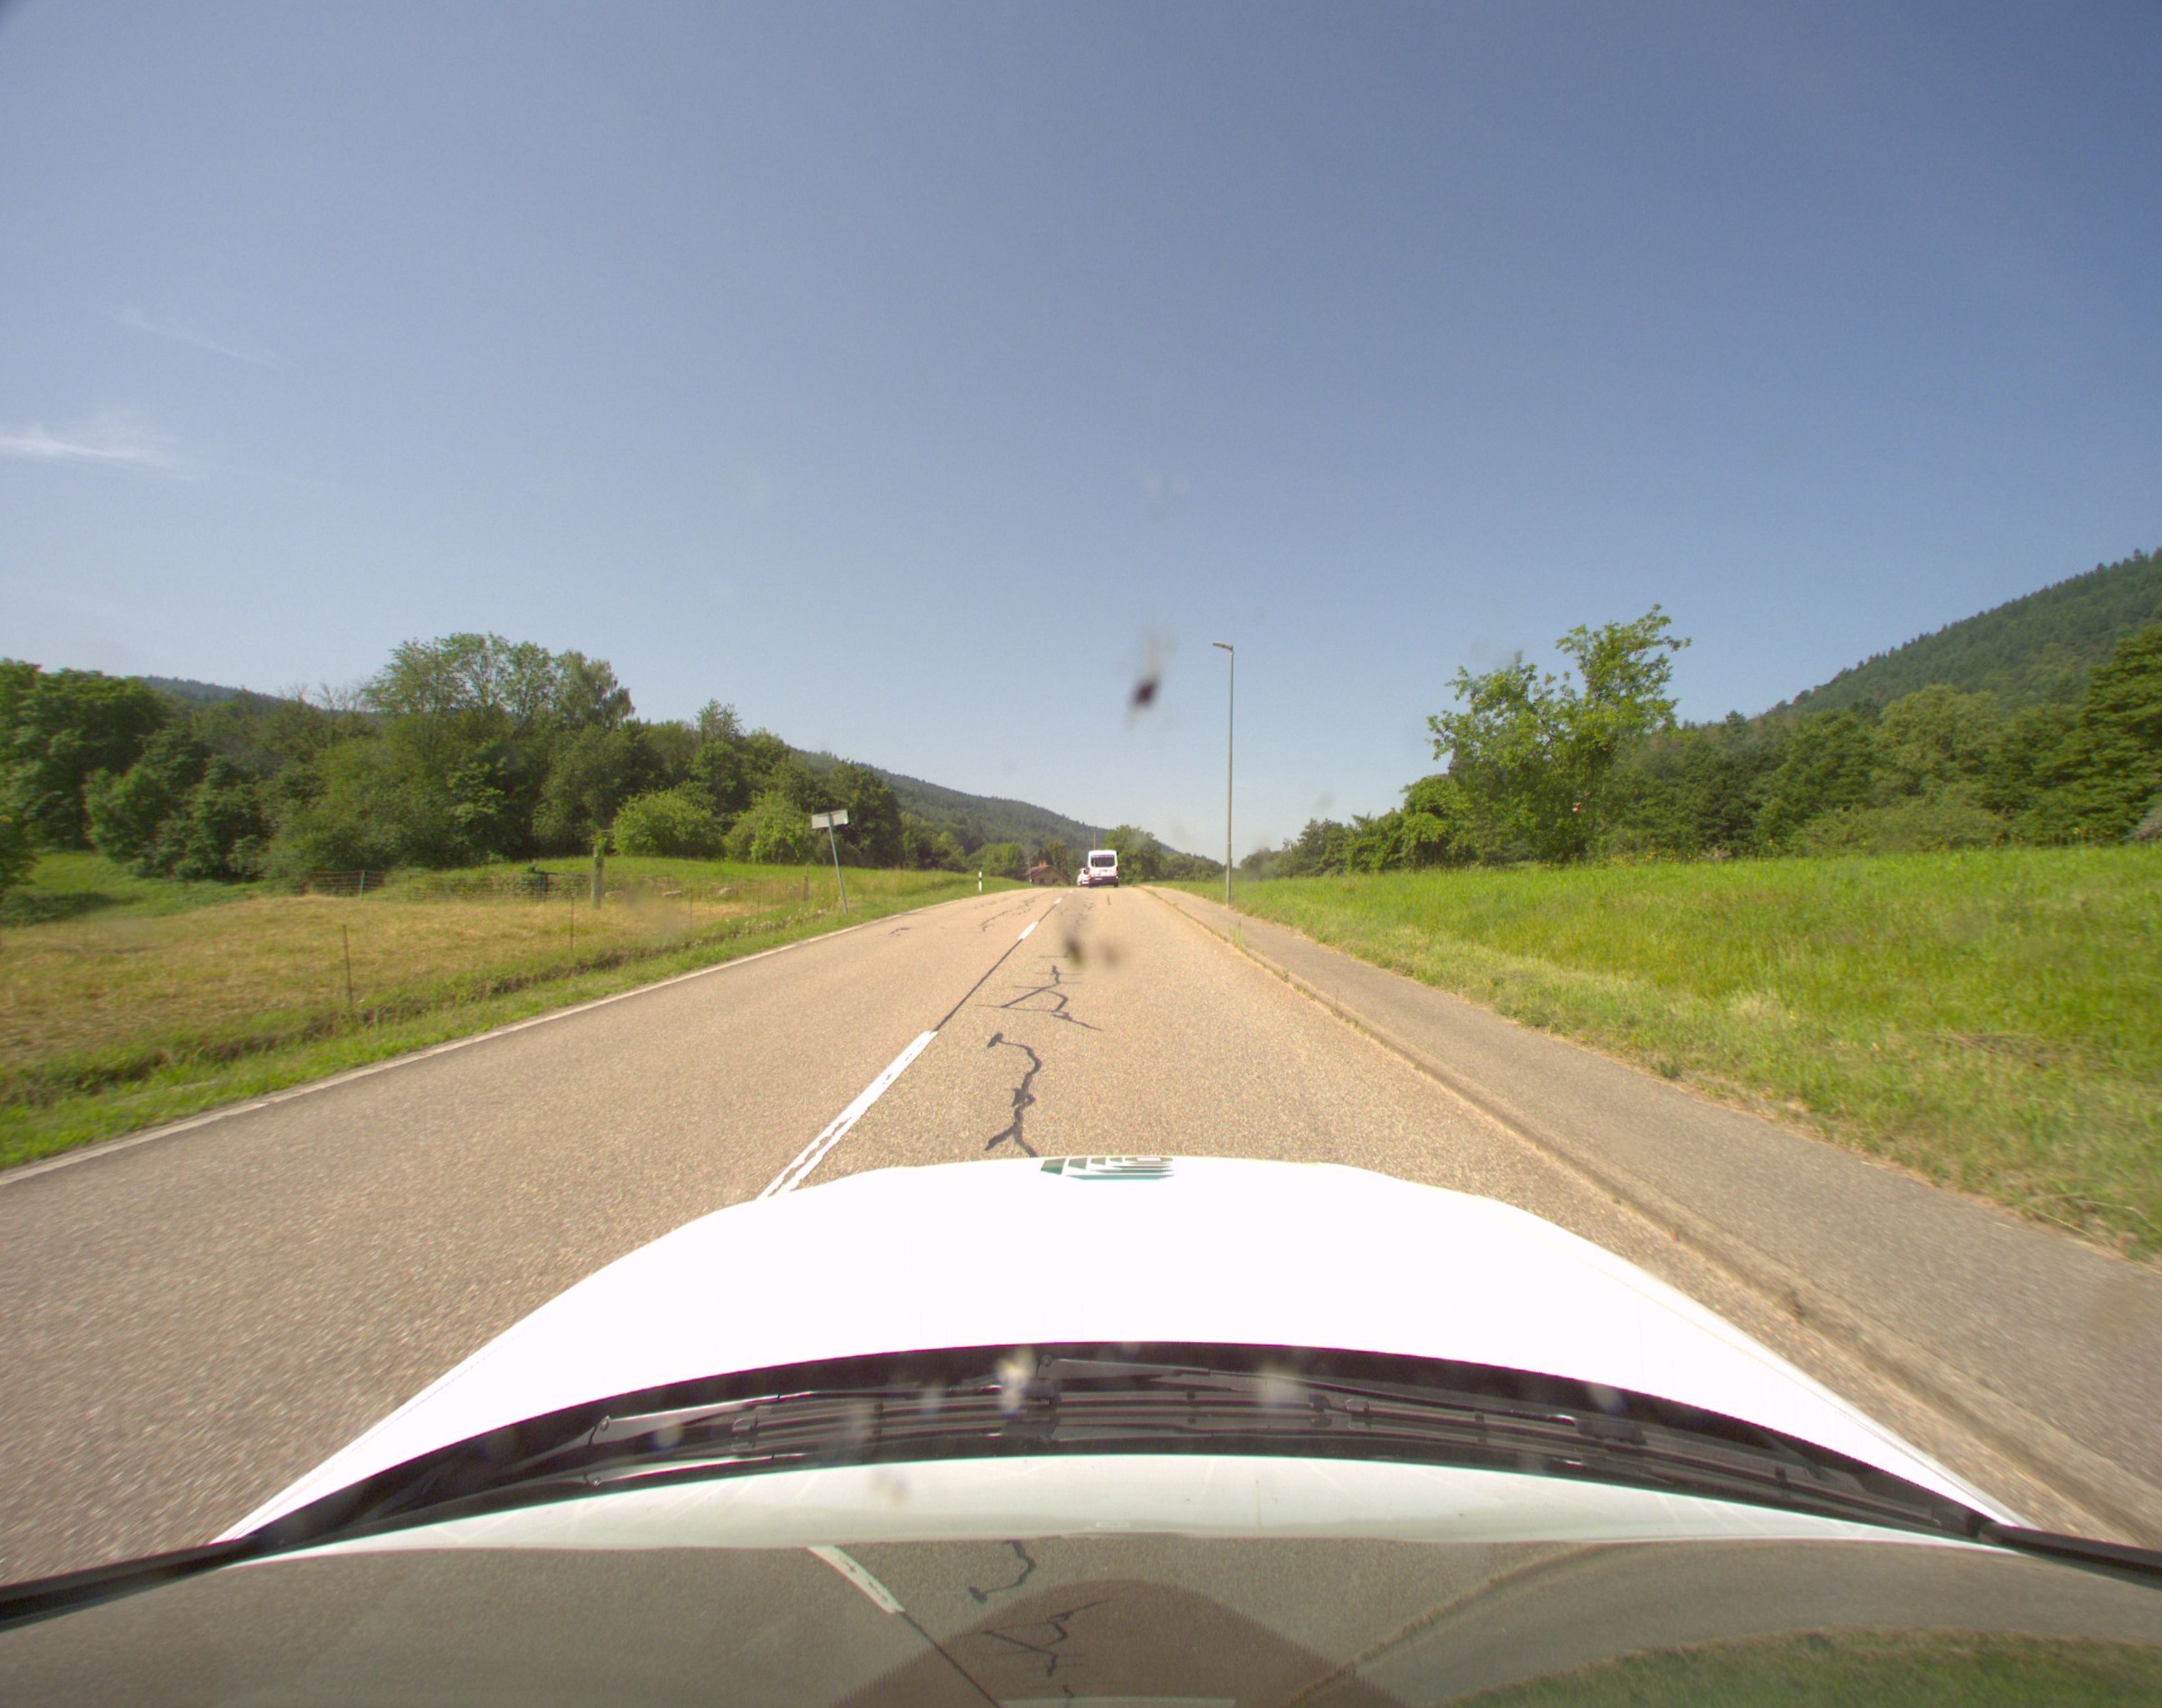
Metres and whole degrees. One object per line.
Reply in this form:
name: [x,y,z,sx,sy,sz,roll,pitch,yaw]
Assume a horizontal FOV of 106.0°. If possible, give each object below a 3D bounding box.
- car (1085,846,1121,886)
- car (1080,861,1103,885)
car: [1.466,0.877,55.422,2.215,2.526,4.984,-3,-2,1]
car: [1.023,2.045,85.193,2.216,2.287,4.982,-3,-2,0]
